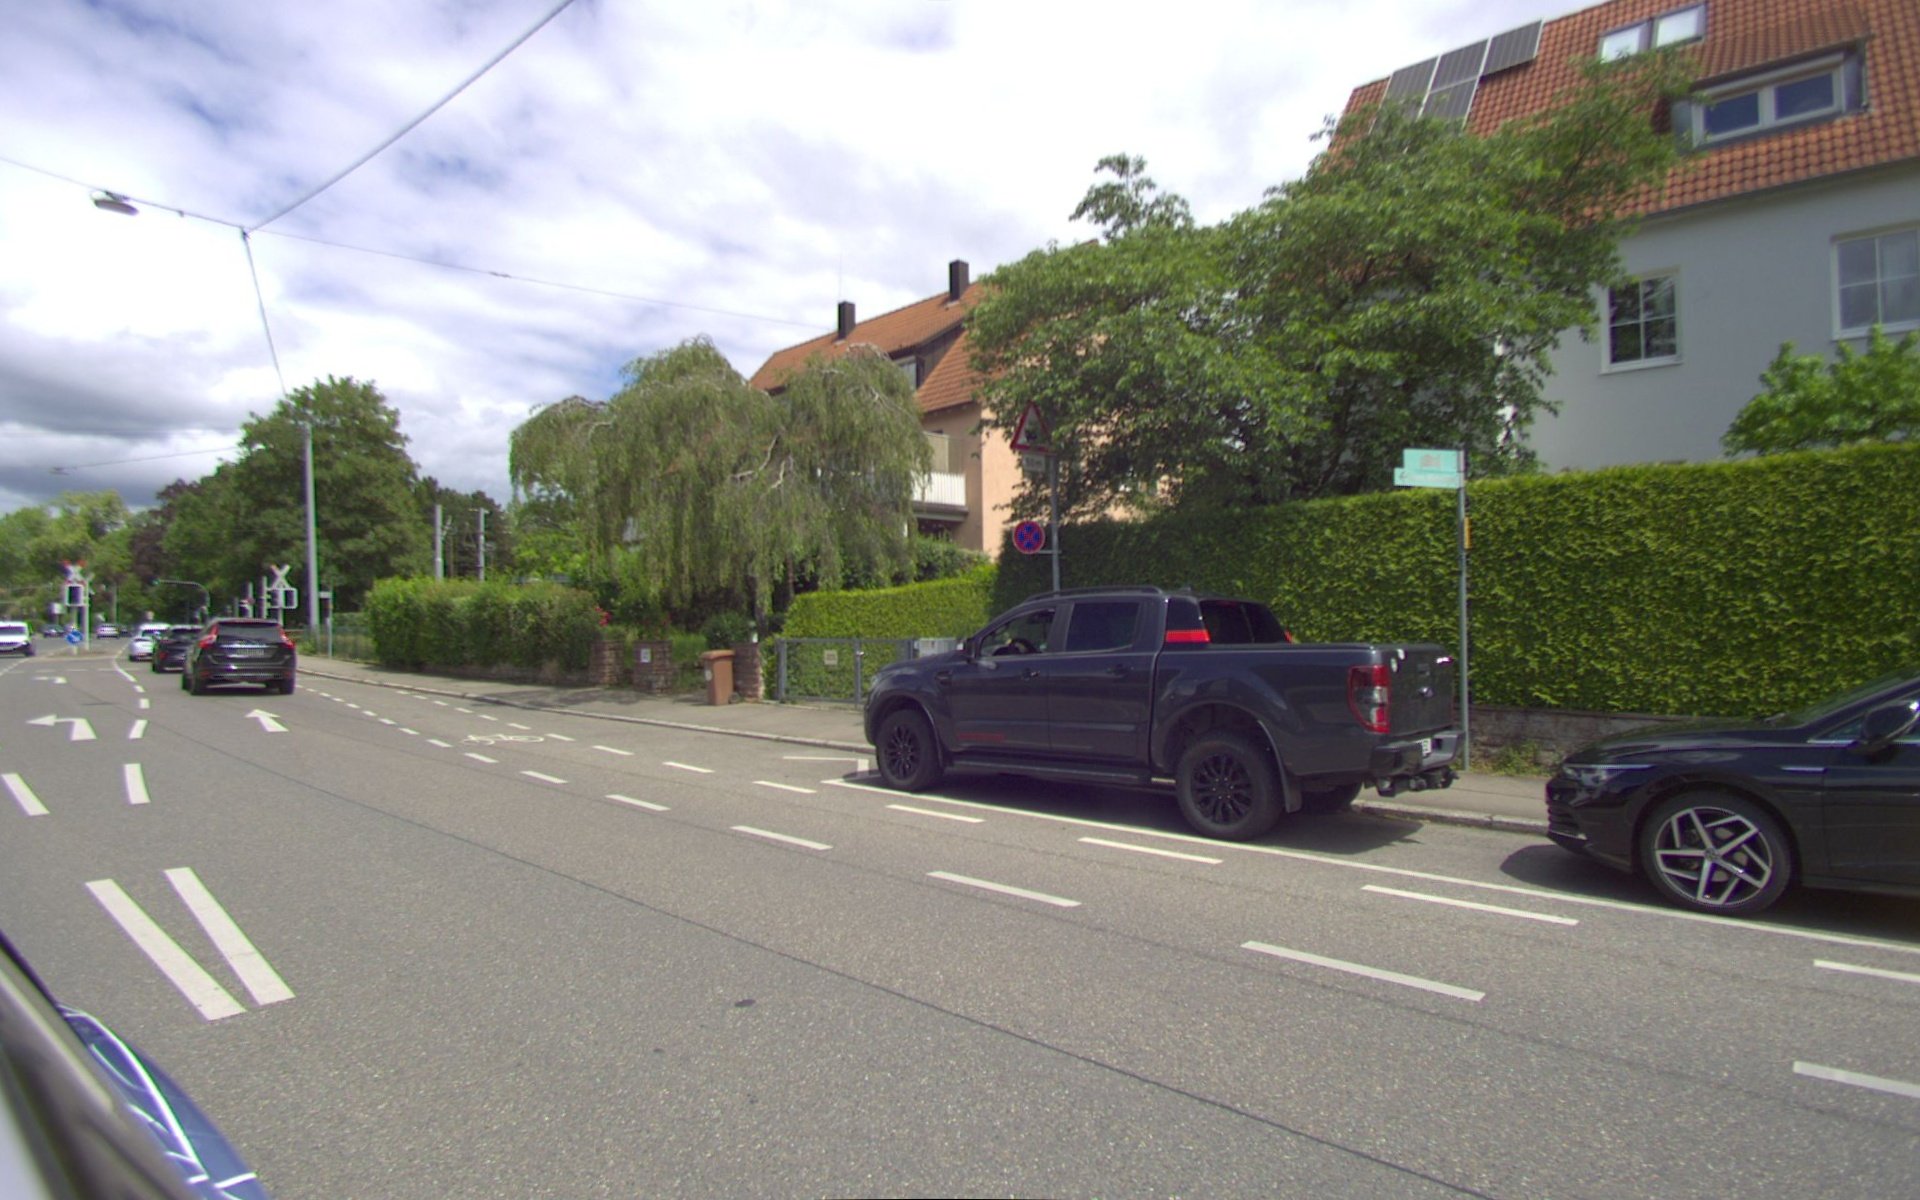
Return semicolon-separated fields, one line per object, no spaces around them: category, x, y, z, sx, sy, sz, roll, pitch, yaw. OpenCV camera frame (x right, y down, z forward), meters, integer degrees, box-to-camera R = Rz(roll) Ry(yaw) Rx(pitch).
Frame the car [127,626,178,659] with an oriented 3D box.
car;-41.974;2.169;52.572;1.825;1.587;4.164;0;-1;-42

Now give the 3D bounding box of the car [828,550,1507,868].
car;1.428;0.752;8.629;5.400;1.909;1.973;-2;-4;41

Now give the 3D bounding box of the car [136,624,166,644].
car;-67.870;2.816;84.864;1.759;1.597;4.005;1;-2;-42

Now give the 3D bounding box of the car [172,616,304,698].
car;-16.398;1.269;22.902;1.893;1.661;4.299;6;-5;-41

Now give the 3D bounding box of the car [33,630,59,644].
car;-102.772;4.129;113.821;1.968;1.438;4.007;-2;0;-39

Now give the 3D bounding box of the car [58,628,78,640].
car;-117.282;4.483;133.059;1.904;1.431;4.007;-1;0;-40

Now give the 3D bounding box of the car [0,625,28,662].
car;-48.601;2.188;51.284;1.905;1.795;4.005;-1;0;-41

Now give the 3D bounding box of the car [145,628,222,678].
car;-24.904;1.653;32.410;1.676;1.467;4.122;3;-2;-41

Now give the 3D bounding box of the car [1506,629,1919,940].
car;5.354;0.865;5.074;4.336;1.428;1.759;-2;-2;40

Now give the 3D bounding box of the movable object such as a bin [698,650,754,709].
movable object such as a bin;-4.006;1.345;17.306;0.645;0.952;0.669;-2;-1;44

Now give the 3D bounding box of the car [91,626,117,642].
car;-84.498;3.356;99.911;1.904;1.431;4.007;-1;0;-40

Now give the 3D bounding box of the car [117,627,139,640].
car;-93.235;3.751;113.393;1.904;1.431;4.007;-1;0;-40

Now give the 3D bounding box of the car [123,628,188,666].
car;-33.699;1.920;42.362;1.853;1.487;4.448;2;-2;-42
